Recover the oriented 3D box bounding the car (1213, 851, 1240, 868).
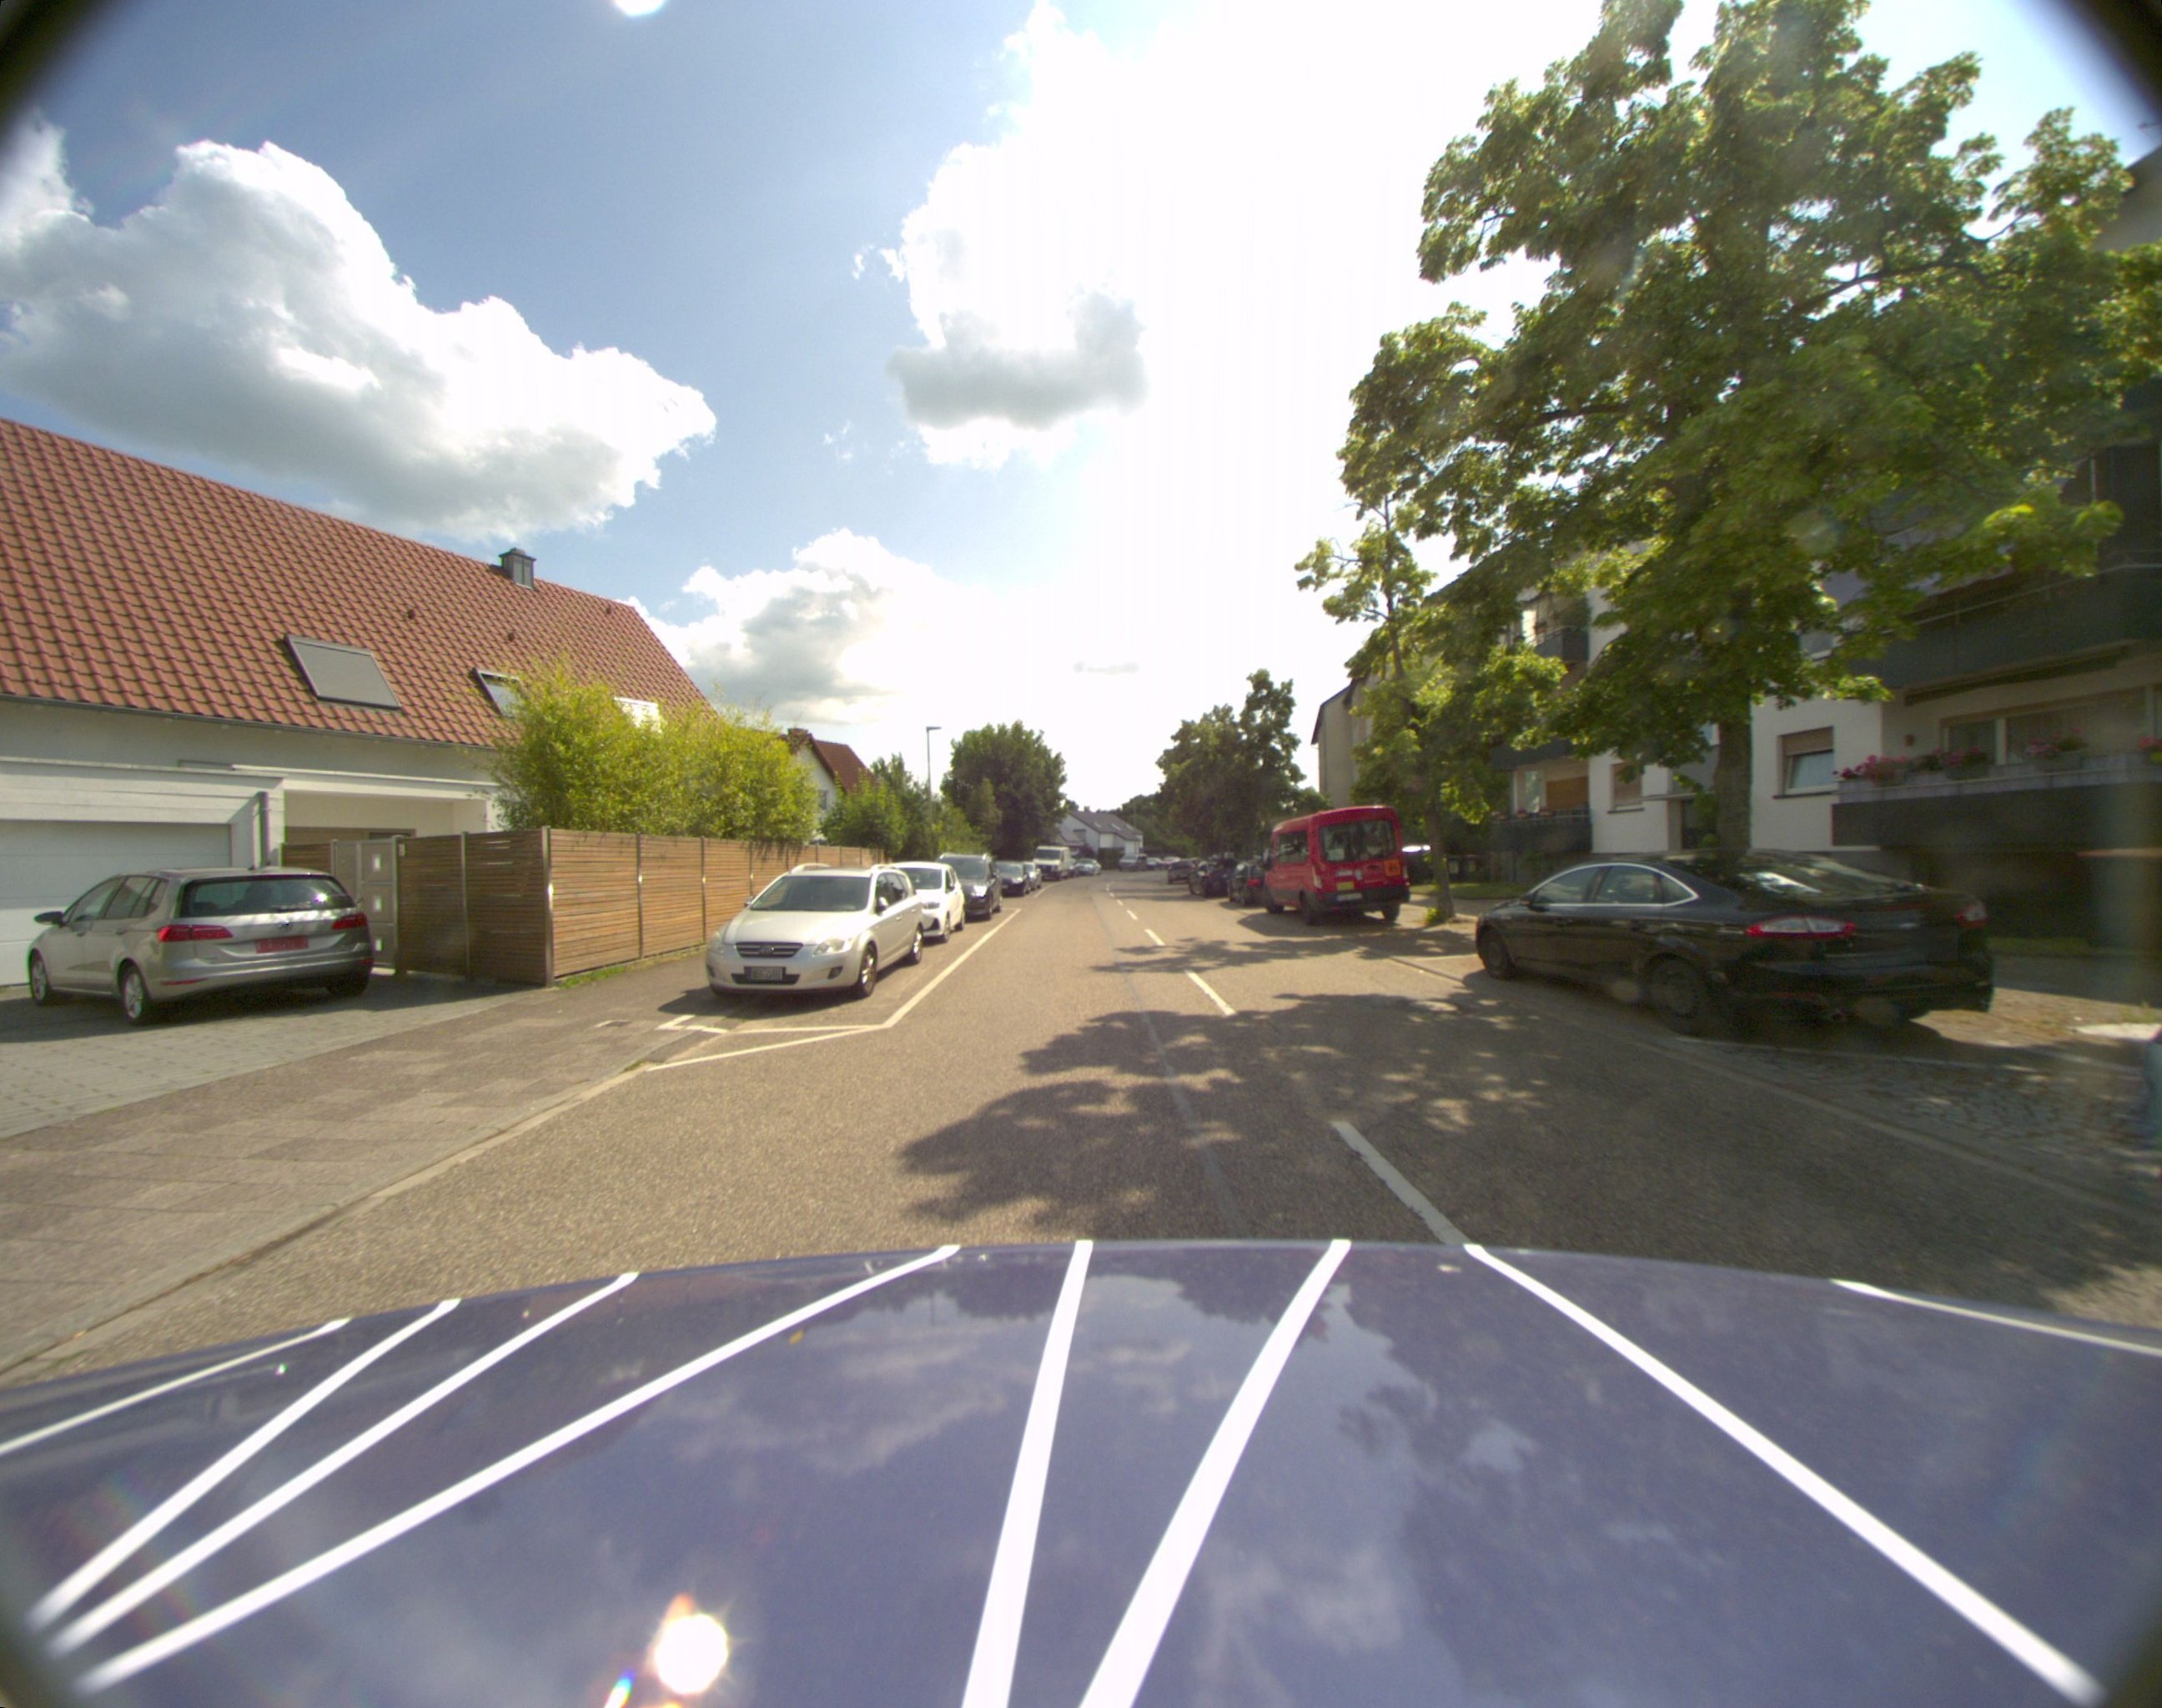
[{"bbox_3d":[16.055,0.591,83.572,1.819,1.714,3.689,-1,0,29],"label":"car"}]

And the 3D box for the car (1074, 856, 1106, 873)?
[{"bbox_3d":[0.807,0.905,66.725,1.817,1.513,4.270,0,0,14],"label":"car"}]

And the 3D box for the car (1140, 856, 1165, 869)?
[{"bbox_3d":[8.345,0.988,88.409,1.841,1.410,3.894,-1,0,21],"label":"car"}]

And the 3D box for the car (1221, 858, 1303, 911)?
[{"bbox_3d":[5.854,0.932,25.140,1.692,1.428,4.464,-4,0,2],"label":"car"}]

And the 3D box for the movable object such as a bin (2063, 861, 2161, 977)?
[{"bbox_3d":[11.303,0.654,7.941,0.956,1.142,0.825,-2,-1,0],"label":"movable object such as a bin"}]

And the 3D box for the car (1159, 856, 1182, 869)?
[{"bbox_3d":[11.143,1.007,94.040,1.782,1.477,4.288,2,1,21],"label":"car"}]

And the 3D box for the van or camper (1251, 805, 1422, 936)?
[{"bbox_3d":[5.949,0.358,18.750,2.153,2.534,6.224,-4,0,2],"label":"van or camper"}]

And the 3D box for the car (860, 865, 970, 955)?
[{"bbox_3d":[-3.198,1.011,15.267,1.446,1.496,3.670,-3,0,-2],"label":"car"}]

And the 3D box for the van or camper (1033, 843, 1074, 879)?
[{"bbox_3d":[-1.834,0.498,53.233,1.972,2.345,5.762,0,0,7],"label":"van or camper"}]

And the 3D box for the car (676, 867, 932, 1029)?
[{"bbox_3d":[-3.253,0.997,9.932,1.749,1.543,4.292,-2,0,0],"label":"car"}]

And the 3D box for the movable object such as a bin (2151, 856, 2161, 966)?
[{"bbox_3d":[12.176,0.603,7.954,0.752,1.206,0.806,-2,-1,0],"label":"movable object such as a bin"}]

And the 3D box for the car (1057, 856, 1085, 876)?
[{"bbox_3d":[-0.728,0.901,60.099,1.683,1.513,4.064,0,0,7],"label":"car"}]

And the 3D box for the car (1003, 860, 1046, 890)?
[{"bbox_3d":[-2.816,1.026,38.837,1.684,1.428,4.063,0,0,3],"label":"car"}]

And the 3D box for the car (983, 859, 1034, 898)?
[{"bbox_3d":[-3.022,0.996,32.593,1.732,1.496,4.295,0,0,1],"label":"car"}]

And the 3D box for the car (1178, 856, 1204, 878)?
[{"bbox_3d":[8.330,1.005,57.913,1.758,1.479,3.684,-5,-1,7],"label":"car"}]

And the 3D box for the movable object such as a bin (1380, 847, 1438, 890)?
[{"bbox_3d":[11.126,0.482,25.848,1.299,1.377,1.291,-2,0,-6],"label":"movable object such as a bin"}]

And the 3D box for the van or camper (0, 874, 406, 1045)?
[{"bbox_3d":[-10.133,1.022,8.727,3.990,1.521,2.003,-1,0,23],"label":"van or camper"}]

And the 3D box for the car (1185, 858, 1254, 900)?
[{"bbox_3d":[5.556,0.976,31.022,1.735,1.468,4.630,-4,0,-2],"label":"car"}]

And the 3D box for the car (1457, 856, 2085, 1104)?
[{"bbox_3d":[5.754,0.851,7.372,1.814,1.485,4.596,-5,0,0],"label":"car"}]

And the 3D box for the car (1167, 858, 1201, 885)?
[{"bbox_3d":[6.393,1.063,47.446,1.758,1.410,4.001,-5,0,4],"label":"car"}]

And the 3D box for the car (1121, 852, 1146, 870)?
[{"bbox_3d":[5.666,0.776,82.028,1.838,1.855,4.286,2,0,16],"label":"car"}]

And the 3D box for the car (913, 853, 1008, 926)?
[{"bbox_3d":[-3.157,0.872,20.861,1.896,1.763,4.708,-1,0,-1],"label":"car"}]

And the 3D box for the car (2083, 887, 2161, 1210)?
[{"bbox_3d":[5.718,0.876,1.748,1.626,1.461,3.925,-4,1,1],"label":"car"}]
